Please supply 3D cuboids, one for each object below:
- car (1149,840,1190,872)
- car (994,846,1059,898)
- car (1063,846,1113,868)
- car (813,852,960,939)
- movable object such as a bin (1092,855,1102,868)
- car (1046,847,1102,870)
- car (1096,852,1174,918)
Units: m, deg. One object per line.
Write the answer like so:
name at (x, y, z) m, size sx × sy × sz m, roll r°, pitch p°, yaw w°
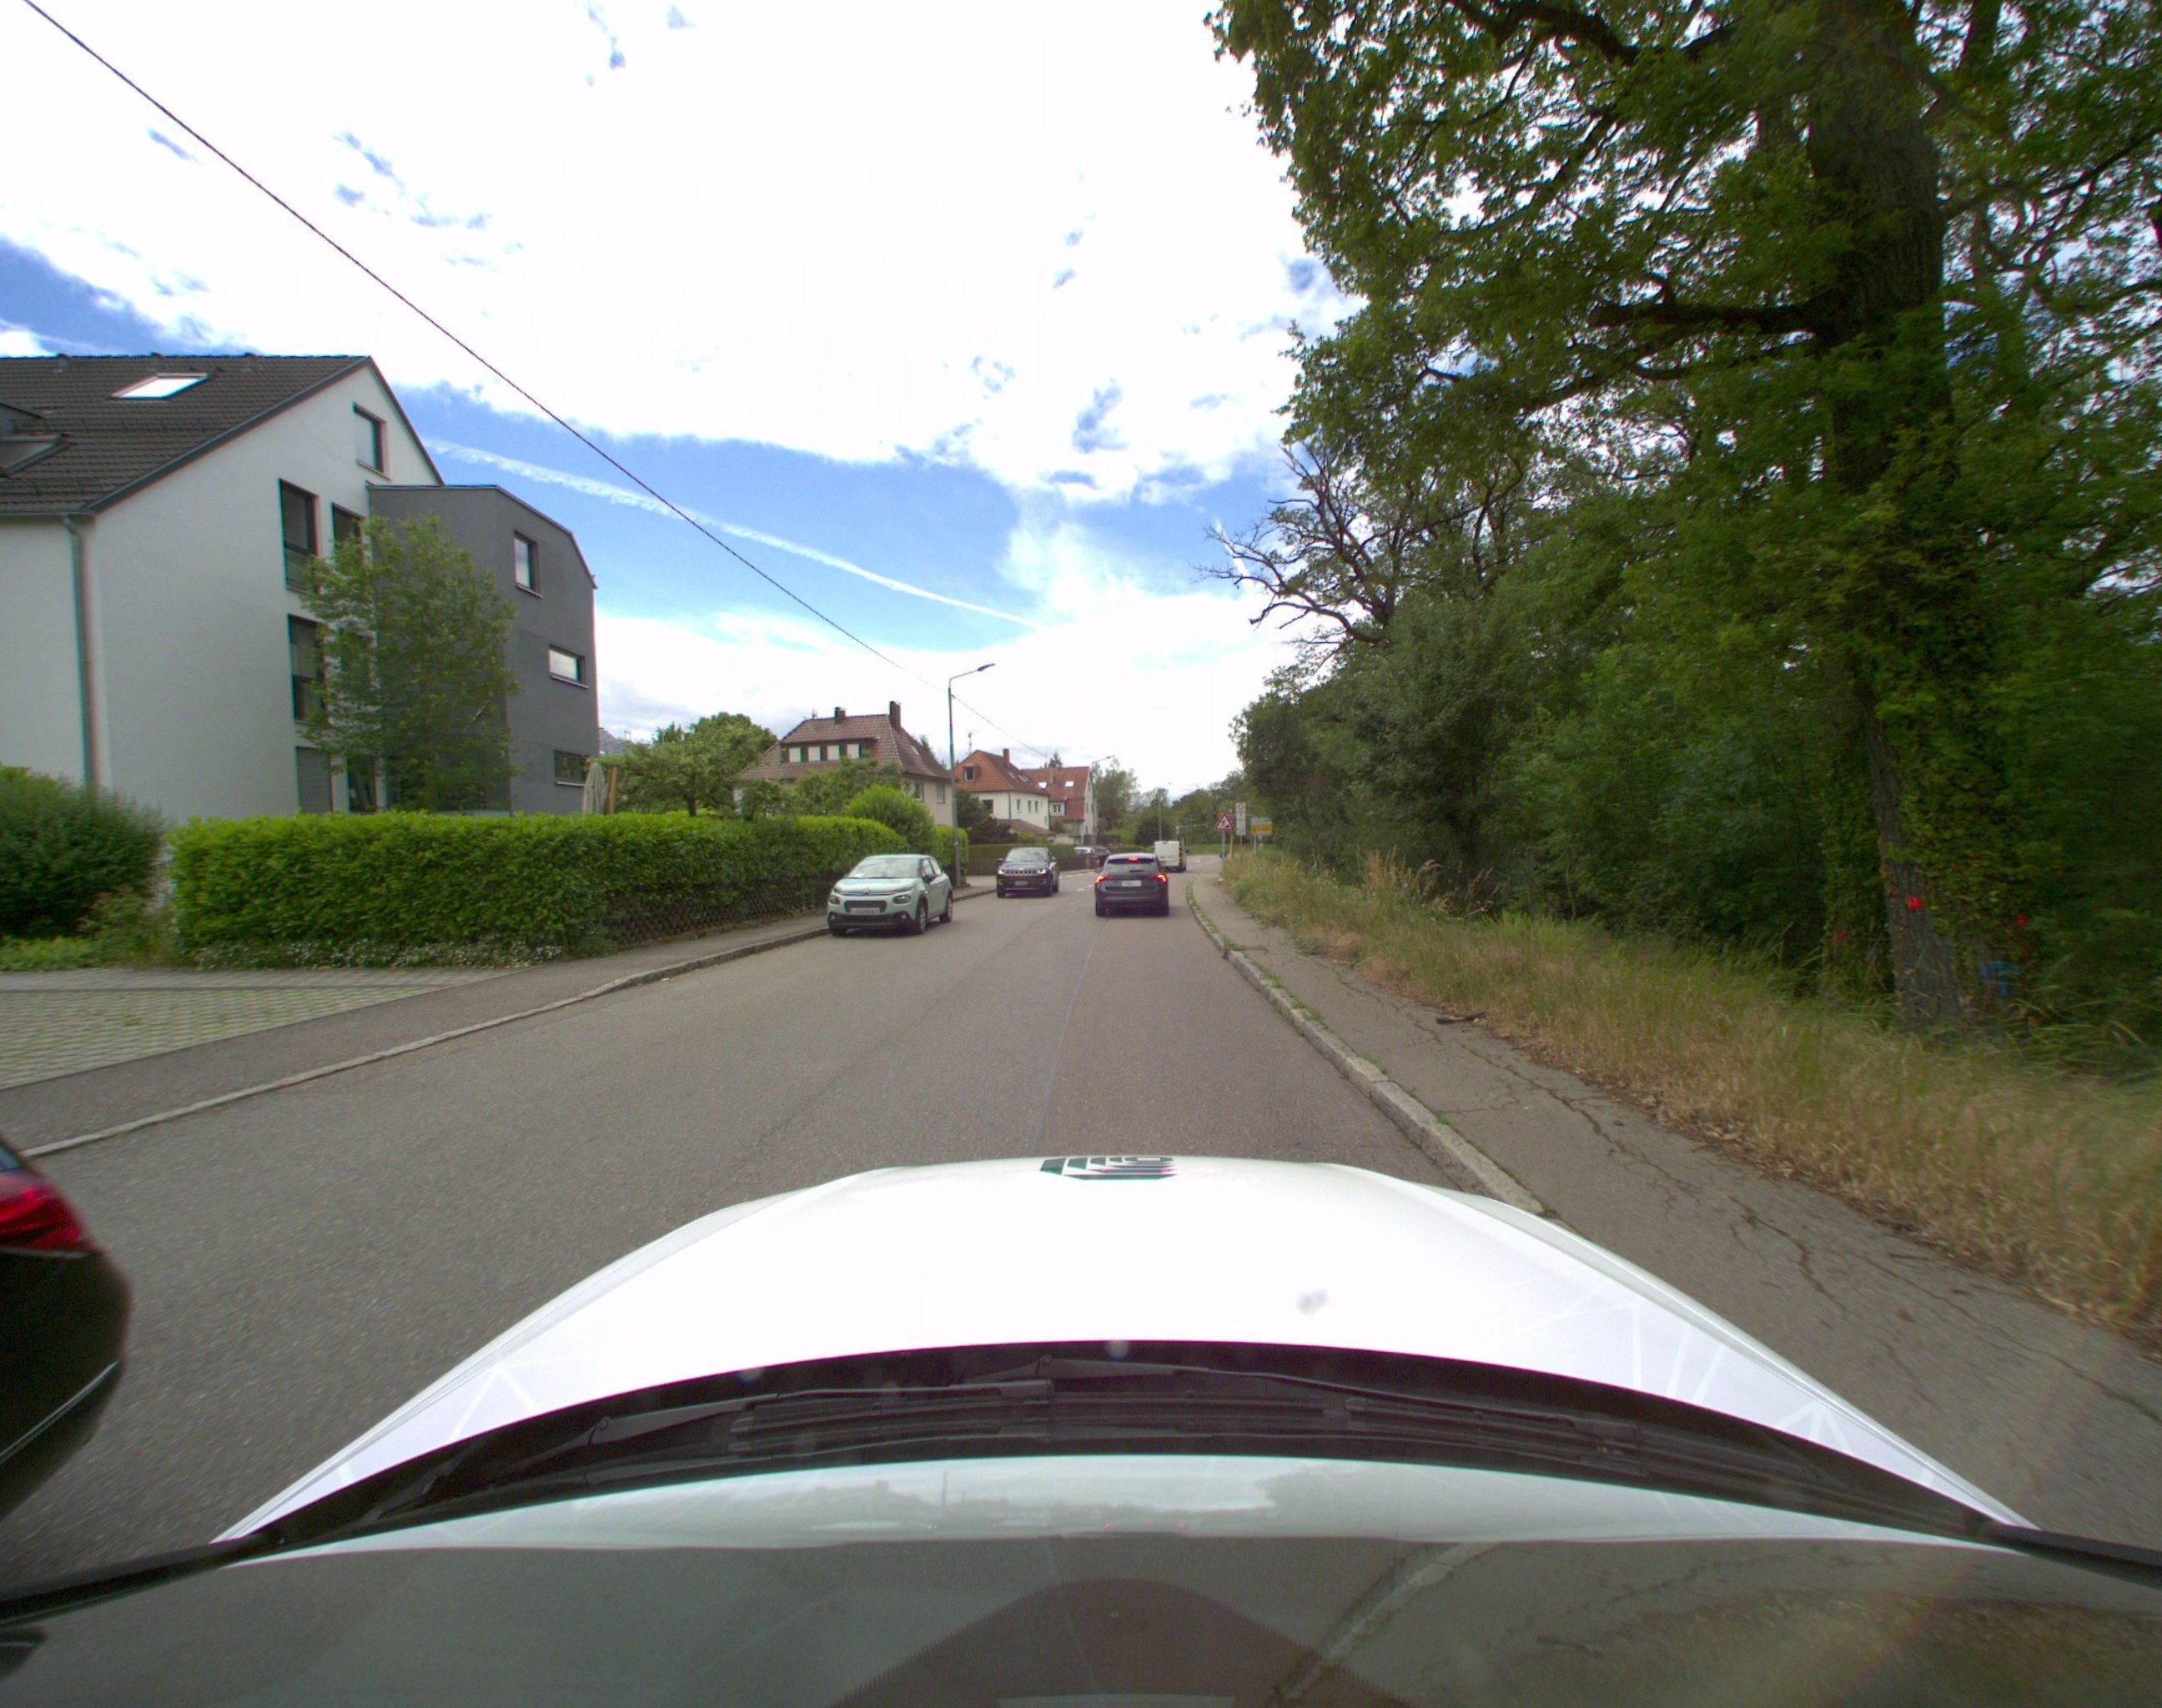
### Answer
car at (5.709, 0.131, 52.238) m, size 2.057 × 1.922 × 4.939 m, roll -1°, pitch 0°, yaw 12°
car at (-1.773, 0.564, 27.995) m, size 1.827 × 1.597 × 4.325 m, roll -1°, pitch 1°, yaw 1°
car at (0.584, 0.209, 67.261) m, size 3.969 × 1.706 × 1.919 m, roll -2°, pitch 0°, yaw 4°
car at (-3.705, 0.726, 16.258) m, size 1.776 × 1.500 × 4.018 m, roll -1°, pitch 0°, yaw 3°
movable object such as a bin at (1.163, 0.548, 58.715) m, size 0.596 × 0.951 × 0.581 m, roll -2°, pitch 0°, yaw 8°
car at (-0.509, 0.363, 62.338) m, size 3.962 × 1.618 × 2.006 m, roll -2°, pitch 0°, yaw 10°
car at (1.247, 0.698, 20.391) m, size 1.722 × 1.439 × 4.324 m, roll -1°, pitch 0°, yaw 1°
